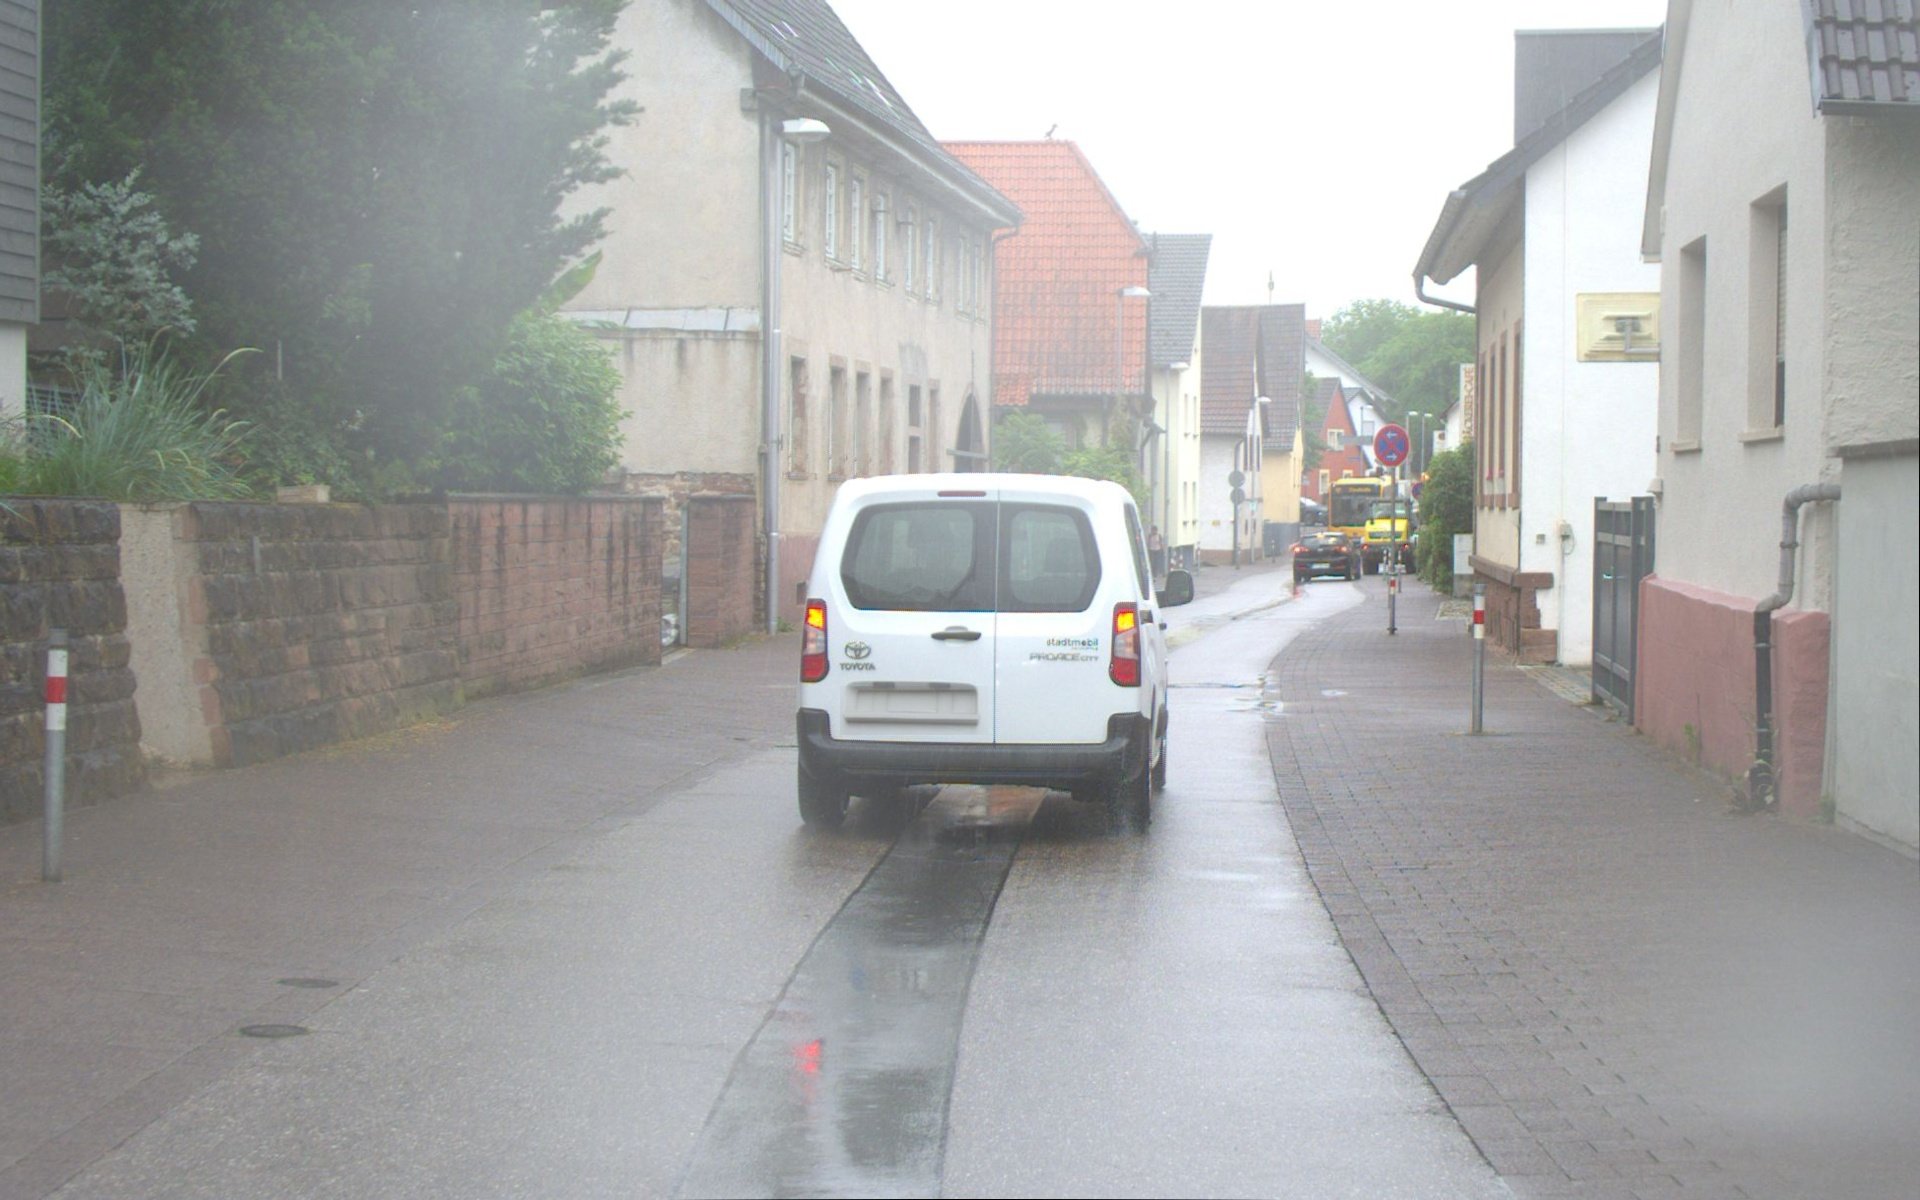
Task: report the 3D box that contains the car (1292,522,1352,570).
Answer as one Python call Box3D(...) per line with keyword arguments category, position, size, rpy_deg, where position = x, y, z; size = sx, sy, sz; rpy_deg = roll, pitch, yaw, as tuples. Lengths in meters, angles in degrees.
Box3D(category="car", position=(10.824, -1.607, 102.704), size=(1.562, 1.367, 3.583), rpy_deg=(2, 1, 9))

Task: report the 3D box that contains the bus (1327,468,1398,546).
Box3D(category="bus", position=(18.480, -4.225, 157.530), size=(2.794, 3.317, 8.175), rpy_deg=(3, 1, 8))

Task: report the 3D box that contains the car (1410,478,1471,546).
Box3D(category="car", position=(15.167, -2.763, 108.461), size=(1.828, 2.007, 3.693), rpy_deg=(2, 1, 8))

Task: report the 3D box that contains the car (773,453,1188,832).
Box3D(category="car", position=(0.227, 0.192, 18.625), size=(1.795, 1.812, 4.100), rpy_deg=(-1, 0, 7))

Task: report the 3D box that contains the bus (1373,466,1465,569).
Box3D(category="bus", position=(15.379, -2.702, 114.825), size=(2.794, 3.169, 8.175), rpy_deg=(3, 1, 8))
